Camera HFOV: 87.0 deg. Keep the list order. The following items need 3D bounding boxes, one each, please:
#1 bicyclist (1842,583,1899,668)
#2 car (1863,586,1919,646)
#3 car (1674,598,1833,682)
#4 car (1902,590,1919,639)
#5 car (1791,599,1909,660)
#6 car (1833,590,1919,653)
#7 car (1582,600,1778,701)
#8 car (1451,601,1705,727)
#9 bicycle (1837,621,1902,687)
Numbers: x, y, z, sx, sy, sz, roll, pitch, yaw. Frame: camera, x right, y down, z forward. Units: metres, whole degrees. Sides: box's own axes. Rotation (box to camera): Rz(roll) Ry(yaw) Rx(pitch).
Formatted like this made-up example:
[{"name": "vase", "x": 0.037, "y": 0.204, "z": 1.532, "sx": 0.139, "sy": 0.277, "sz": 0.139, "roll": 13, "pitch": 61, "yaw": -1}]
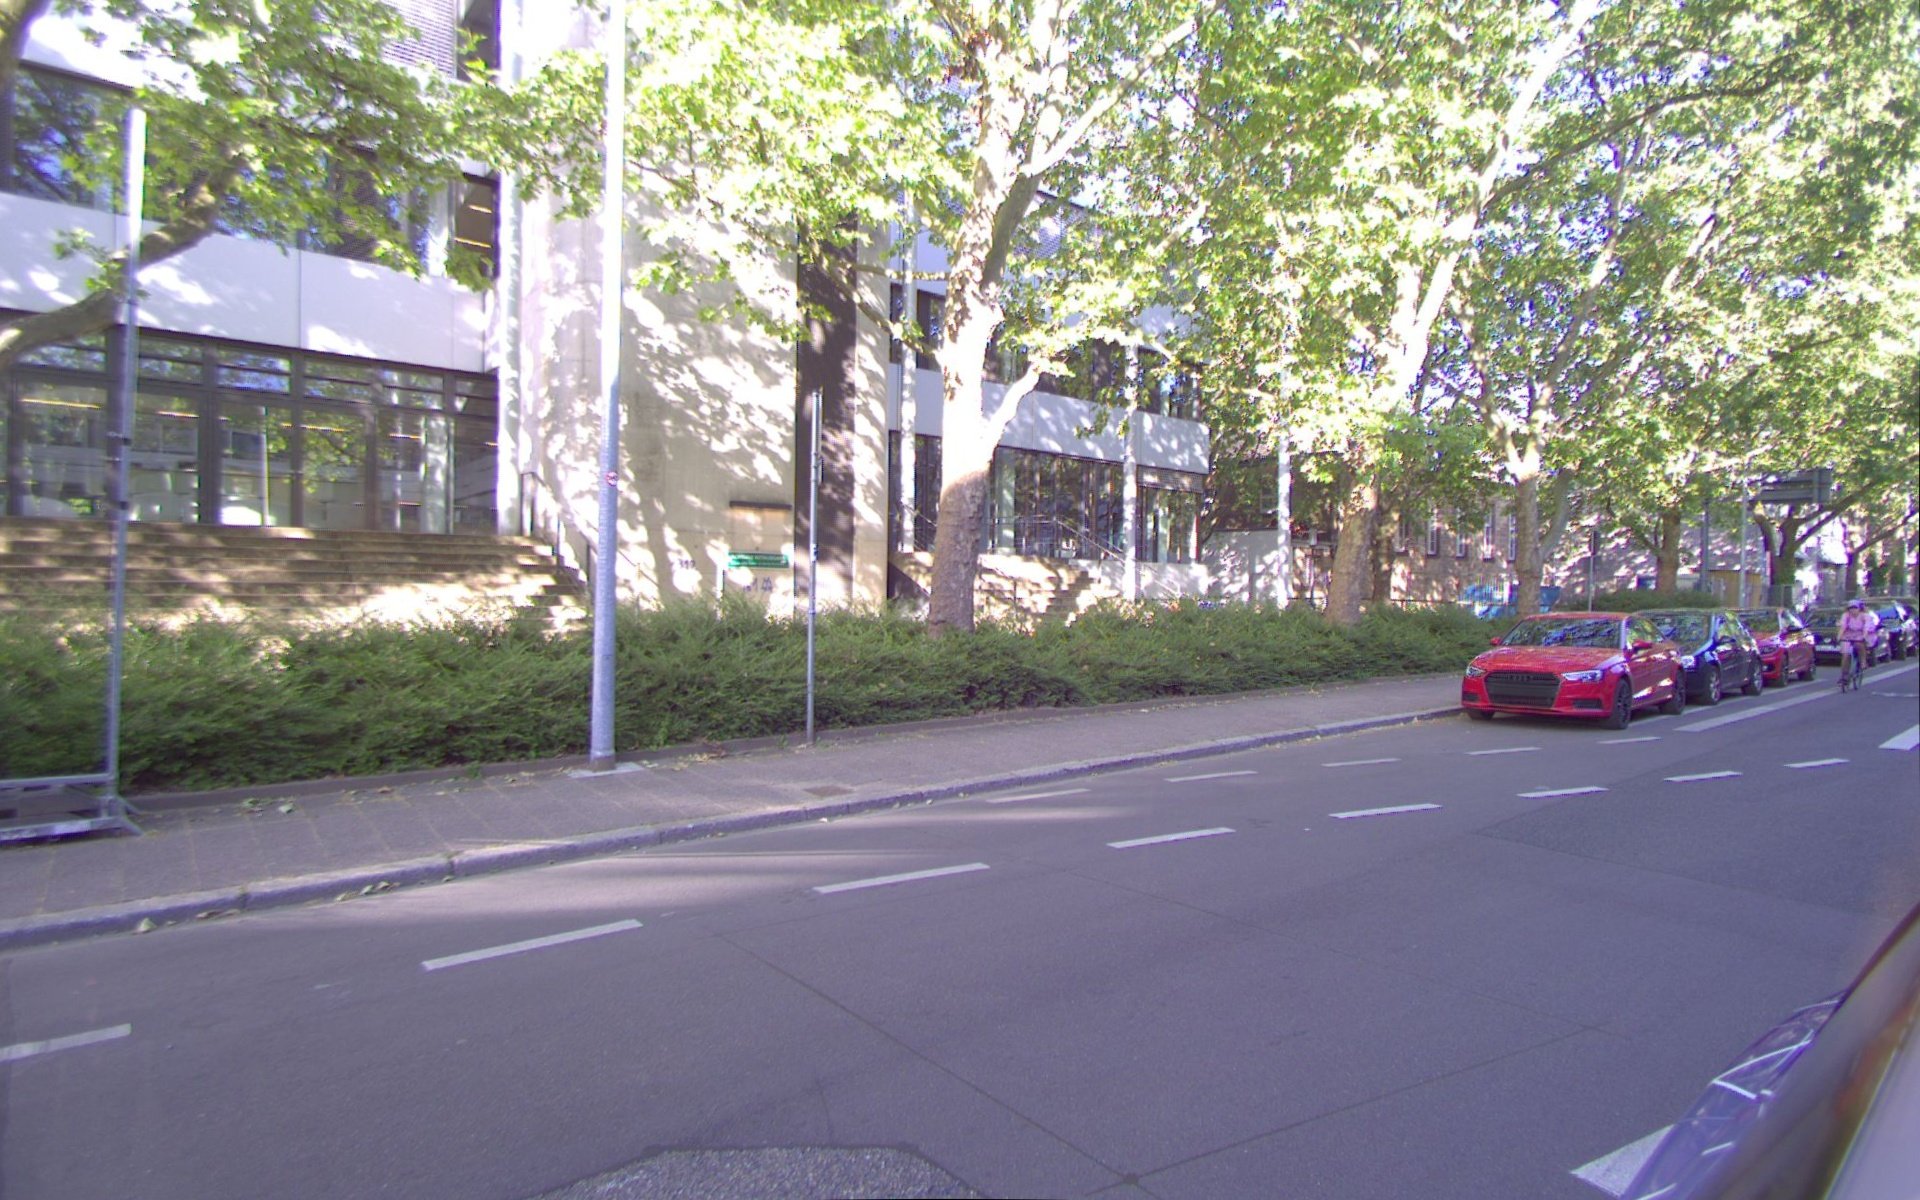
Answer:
[{"name": "bicyclist", "x": 15.993, "y": 0.431, "z": 17.775, "sx": 0.728, "sy": 1.453, "sz": 0.650, "roll": 0, "pitch": 0, "yaw": -41}, {"name": "car", "x": 30.985, "y": 0.488, "z": 32.979, "sx": 4.370, "sy": 1.844, "sz": 1.753, "roll": 0, "pitch": -1, "yaw": -41}, {"name": "car", "x": 15.717, "y": 0.723, "z": 19.976, "sx": 3.841, "sy": 1.486, "sz": 1.753, "roll": 0, "pitch": -1, "yaw": -41}, {"name": "car", "x": 36.208, "y": 0.518, "z": 37.275, "sx": 4.370, "sy": 1.750, "sz": 1.753, "roll": 0, "pitch": -1, "yaw": -41}, {"name": "car", "x": 22.961, "y": 0.718, "z": 26.075, "sx": 3.841, "sy": 1.451, "sz": 1.753, "roll": 0, "pitch": -1, "yaw": -41}, {"name": "car", "x": 26.728, "y": 0.588, "z": 29.188, "sx": 4.101, "sy": 1.674, "sz": 1.753, "roll": 0, "pitch": -1, "yaw": -41}, {"name": "car", "x": 11.865, "y": 0.741, "z": 16.599, "sx": 3.841, "sy": 1.451, "sz": 1.753, "roll": 0, "pitch": -1, "yaw": -41}, {"name": "car", "x": 8.290, "y": 0.743, "z": 13.454, "sx": 3.930, "sy": 1.427, "sz": 1.753, "roll": 0, "pitch": -1, "yaw": -41}, {"name": "bicycle", "x": 15.983, "y": 0.919, "z": 17.778, "sx": 1.567, "sy": 1.073, "sz": 0.650, "roll": 0, "pitch": 0, "yaw": -41}]
